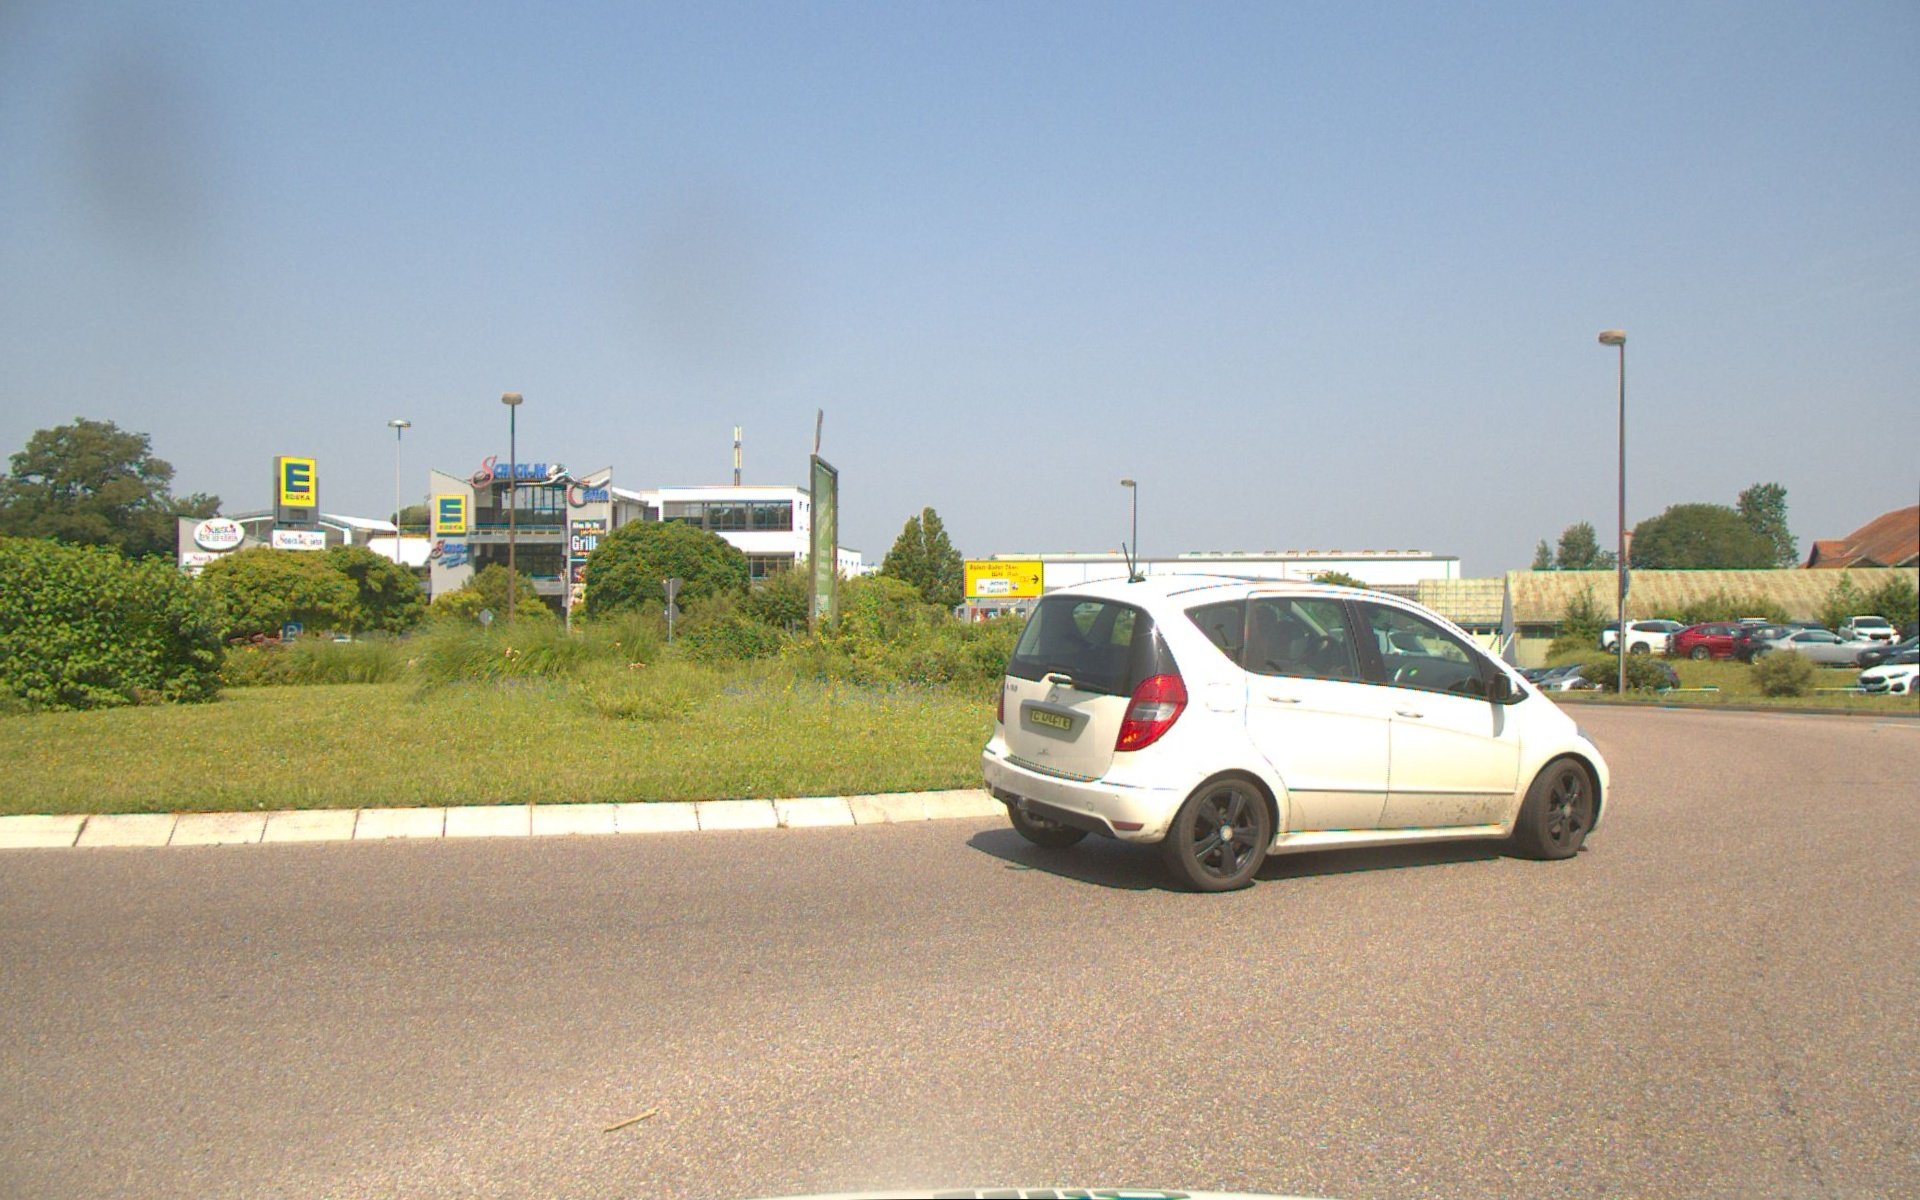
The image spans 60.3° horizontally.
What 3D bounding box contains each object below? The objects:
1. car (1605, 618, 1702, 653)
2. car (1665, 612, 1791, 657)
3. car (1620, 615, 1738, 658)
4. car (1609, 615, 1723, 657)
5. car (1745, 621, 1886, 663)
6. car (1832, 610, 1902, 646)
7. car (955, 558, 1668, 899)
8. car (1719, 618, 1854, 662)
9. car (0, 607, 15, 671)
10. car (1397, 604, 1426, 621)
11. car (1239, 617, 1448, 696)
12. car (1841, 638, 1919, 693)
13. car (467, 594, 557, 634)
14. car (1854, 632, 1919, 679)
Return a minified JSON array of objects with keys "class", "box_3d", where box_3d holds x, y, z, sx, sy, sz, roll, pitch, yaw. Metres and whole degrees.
[{"class":"car","box_3d":[31.555,1.635,75.329,3.792,1.559,1.769,-1,-1,14]},{"class":"car","box_3d":[31.440,1.418,67.855,4.358,1.778,1.951,-1,-1,14]},{"class":"car","box_3d":[30.680,1.553,70.700,4.358,1.778,1.840,-1,-1,14]},{"class":"car","box_3d":[31.151,1.583,73.084,4.358,1.778,1.840,-1,-1,14]},{"class":"car","box_3d":[32.197,1.577,62.383,4.358,1.526,1.951,-1,-1,14]},{"class":"car","box_3d":[41.566,1.293,75.857,1.876,1.624,4.306,-1,-1,16]},{"class":"car","box_3d":[2.072,0.616,9.615,3.836,1.631,1.771,1,1,-28]},{"class":"car","box_3d":[32.275,1.576,64.707,4.358,1.663,1.951,-1,-1,14]},{"class":"car","box_3d":[-31.781,1.200,51.829,1.652,2.049,4.002,1,-2,6]},{"class":"car","box_3d":[42.150,1.165,154.262,1.954,1.423,3.996,0,-2,26]},{"class":"car","box_3d":[8.154,1.186,35.177,3.996,1.557,1.782,0,-2,29]},{"class":"car","box_3d":[29.121,1.935,50.060,4.495,1.598,1.758,0,-2,-20]},{"class":"car","box_3d":[-18.620,0.597,68.812,3.242,1.602,1.557,0,-2,14]},{"class":"car","box_3d":[32.654,1.851,55.999,3.912,1.553,1.950,-1,-1,20]}]
